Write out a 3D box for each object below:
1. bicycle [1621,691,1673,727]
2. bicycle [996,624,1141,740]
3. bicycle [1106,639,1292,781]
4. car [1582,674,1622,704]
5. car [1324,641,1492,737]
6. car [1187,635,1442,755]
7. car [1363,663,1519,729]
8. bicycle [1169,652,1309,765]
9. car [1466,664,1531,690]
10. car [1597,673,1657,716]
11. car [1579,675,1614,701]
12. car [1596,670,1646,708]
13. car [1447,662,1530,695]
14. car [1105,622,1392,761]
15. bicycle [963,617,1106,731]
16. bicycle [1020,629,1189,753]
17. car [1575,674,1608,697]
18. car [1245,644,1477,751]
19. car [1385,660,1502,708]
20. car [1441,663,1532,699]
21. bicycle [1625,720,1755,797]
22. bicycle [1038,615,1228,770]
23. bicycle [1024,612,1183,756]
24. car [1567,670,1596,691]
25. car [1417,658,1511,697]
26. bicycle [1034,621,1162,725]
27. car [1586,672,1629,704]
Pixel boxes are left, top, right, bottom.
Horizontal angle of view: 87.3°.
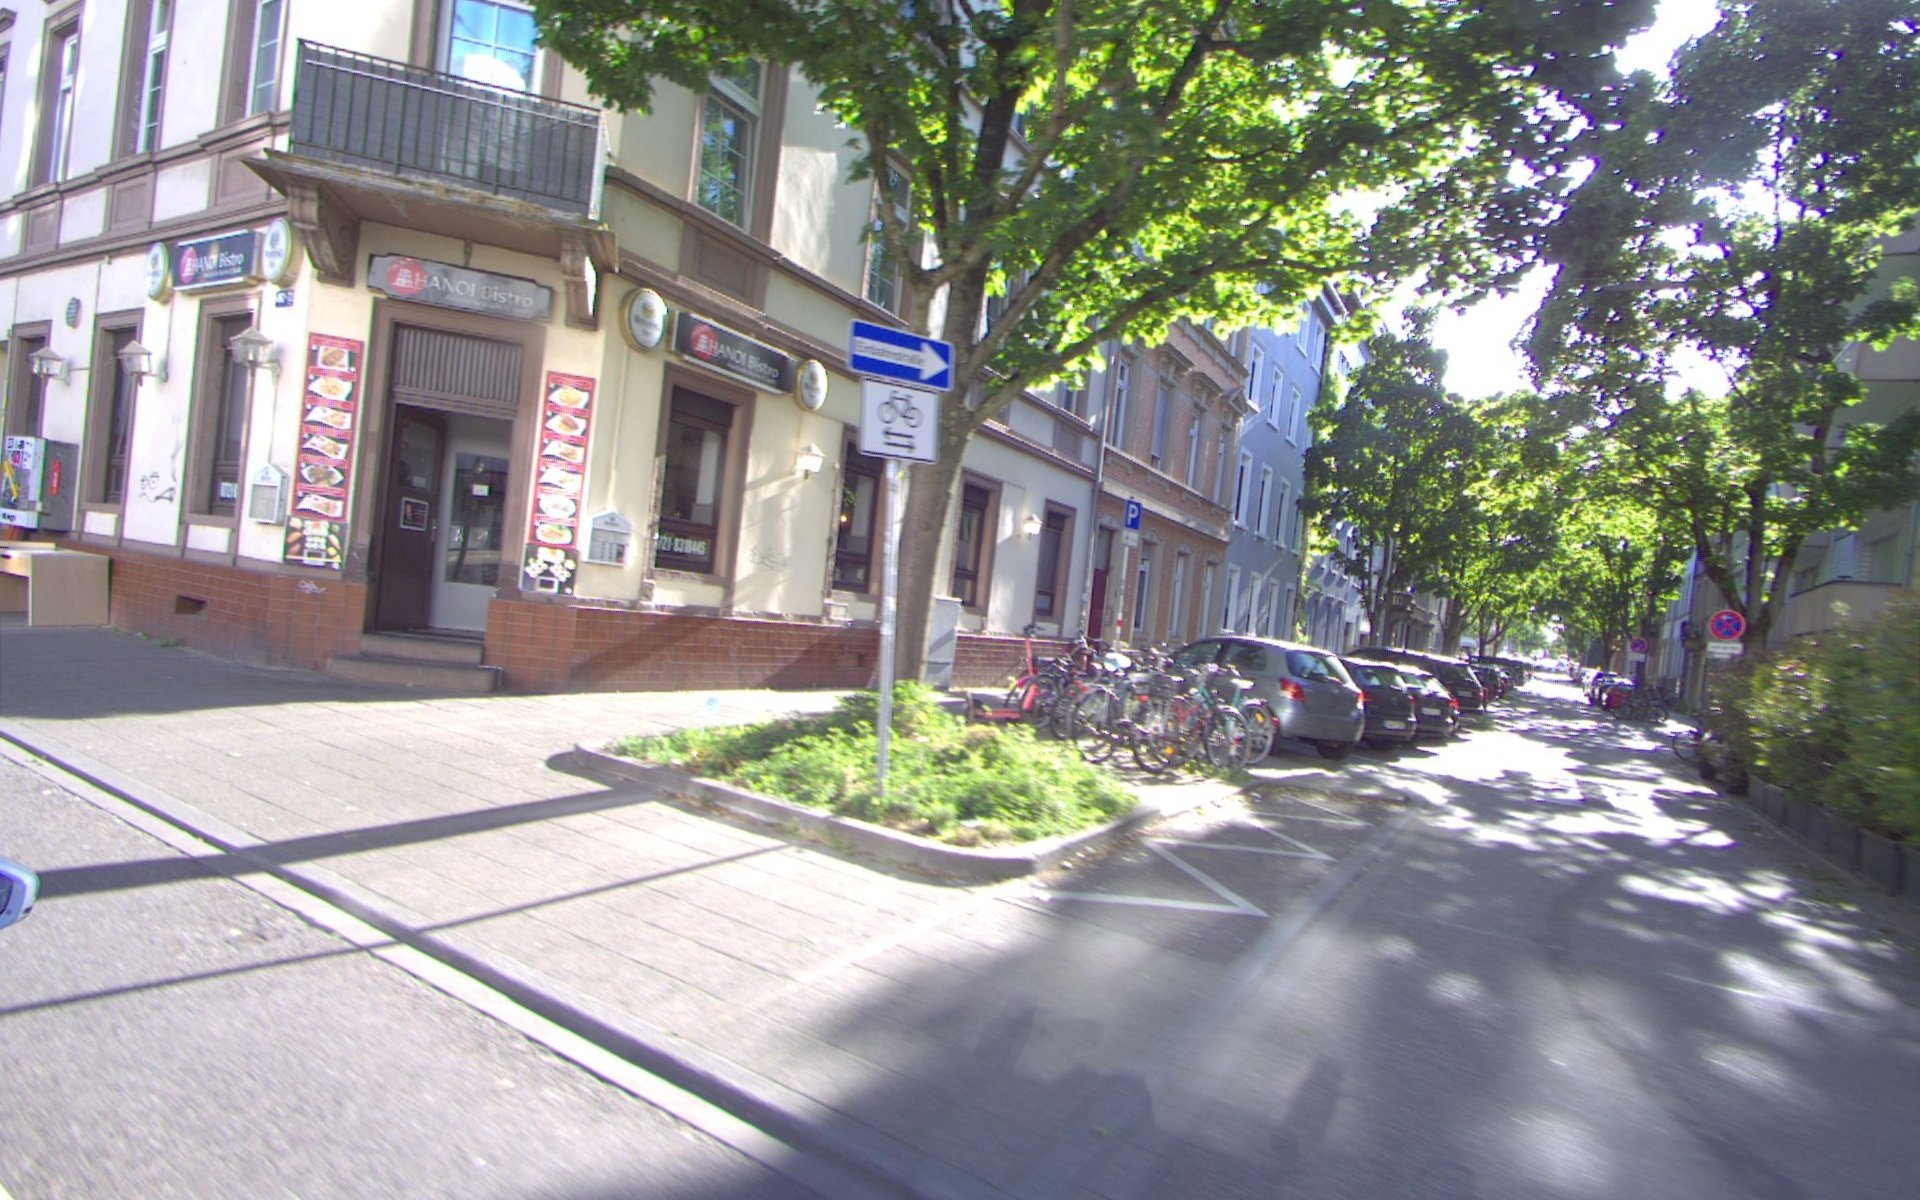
[{"bbox_3d":[26.904,4.261,39.431,0.344,1.082,1.512,8,2,-42],"label":"bicycle"},{"bbox_3d":[1.269,0.964,11.696,1.574,1.138,0.344,9,2,-26],"label":"bicycle"},{"bbox_3d":[2.390,1.108,9.967,1.827,1.175,0.344,9,2,-26],"label":"bicycle"},{"bbox_3d":[45.187,6.287,70.860,1.966,1.792,3.996,5,-2,28],"label":"car"},{"bbox_3d":[10.548,2.054,23.867,1.373,1.841,3.314,7,-2,-31],"label":"car"},{"bbox_3d":[5.898,1.547,17.149,1.690,1.528,3.785,8,-2,-31],"label":"car"},{"bbox_3d":[13.822,2.735,29.095,1.487,1.390,3.785,8,-2,-31],"label":"car"},{"bbox_3d":[3.154,1.234,11.343,1.513,1.082,0.344,9,2,-26],"label":"bicycle"},{"bbox_3d":[38.245,5.441,71.566,1.487,1.390,3.785,8,-2,-31],"label":"car"},{"bbox_3d":[32.378,4.592,48.919,1.966,1.792,3.996,5,-2,29],"label":"car"},{"bbox_3d":[50.920,7.081,80.554,1.966,1.792,3.996,5,-2,29],"label":"car"},{"bbox_3d":[36.594,4.932,55.766,1.967,1.792,3.995,5,-2,30],"label":"car"},{"bbox_3d":[29.404,4.357,56.026,1.487,1.390,3.785,8,-2,-31],"label":"car"},{"bbox_3d":[4.052,1.252,14.718,1.690,1.528,3.785,8,-2,-31],"label":"car"},{"bbox_3d":[0.893,0.896,11.966,1.574,1.138,0.344,9,2,-26],"label":"bicycle"},{"bbox_3d":[1.630,1.031,11.241,1.827,1.138,0.344,9,2,-26],"label":"bicycle"},{"bbox_3d":[57.131,7.783,91.131,1.965,1.792,3.998,5,-2,26],"label":"car"},{"bbox_3d":[7.552,1.809,19.287,1.690,1.528,3.785,8,-2,-31],"label":"car"},{"bbox_3d":[18.682,3.239,39.013,1.487,1.390,3.785,8,-2,-31],"label":"car"},{"bbox_3d":[26.750,4.089,51.225,1.487,1.390,3.785,8,-2,-31],"label":"car"},{"bbox_3d":[11.202,2.421,15.477,0.344,0.931,1.514,8,-3,-42],"label":"bicycle"},{"bbox_3d":[1.750,0.948,10.057,1.827,1.310,0.344,9,2,-26],"label":"bicycle"},{"bbox_3d":[1.529,0.905,10.631,1.553,1.310,0.344,9,2,-26],"label":"bicycle"},{"bbox_3d":[62.828,8.151,101.762,1.965,1.792,3.998,5,-2,27],"label":"car"},{"bbox_3d":[24.289,3.721,48.622,1.487,1.390,3.785,8,-2,-31],"label":"car"},{"bbox_3d":[1.822,0.969,13.204,1.574,1.138,0.344,9,2,-26],"label":"bicycle"},{"bbox_3d":[41.491,5.643,64.533,1.966,1.792,3.995,5,-2,30],"label":"car"}]
